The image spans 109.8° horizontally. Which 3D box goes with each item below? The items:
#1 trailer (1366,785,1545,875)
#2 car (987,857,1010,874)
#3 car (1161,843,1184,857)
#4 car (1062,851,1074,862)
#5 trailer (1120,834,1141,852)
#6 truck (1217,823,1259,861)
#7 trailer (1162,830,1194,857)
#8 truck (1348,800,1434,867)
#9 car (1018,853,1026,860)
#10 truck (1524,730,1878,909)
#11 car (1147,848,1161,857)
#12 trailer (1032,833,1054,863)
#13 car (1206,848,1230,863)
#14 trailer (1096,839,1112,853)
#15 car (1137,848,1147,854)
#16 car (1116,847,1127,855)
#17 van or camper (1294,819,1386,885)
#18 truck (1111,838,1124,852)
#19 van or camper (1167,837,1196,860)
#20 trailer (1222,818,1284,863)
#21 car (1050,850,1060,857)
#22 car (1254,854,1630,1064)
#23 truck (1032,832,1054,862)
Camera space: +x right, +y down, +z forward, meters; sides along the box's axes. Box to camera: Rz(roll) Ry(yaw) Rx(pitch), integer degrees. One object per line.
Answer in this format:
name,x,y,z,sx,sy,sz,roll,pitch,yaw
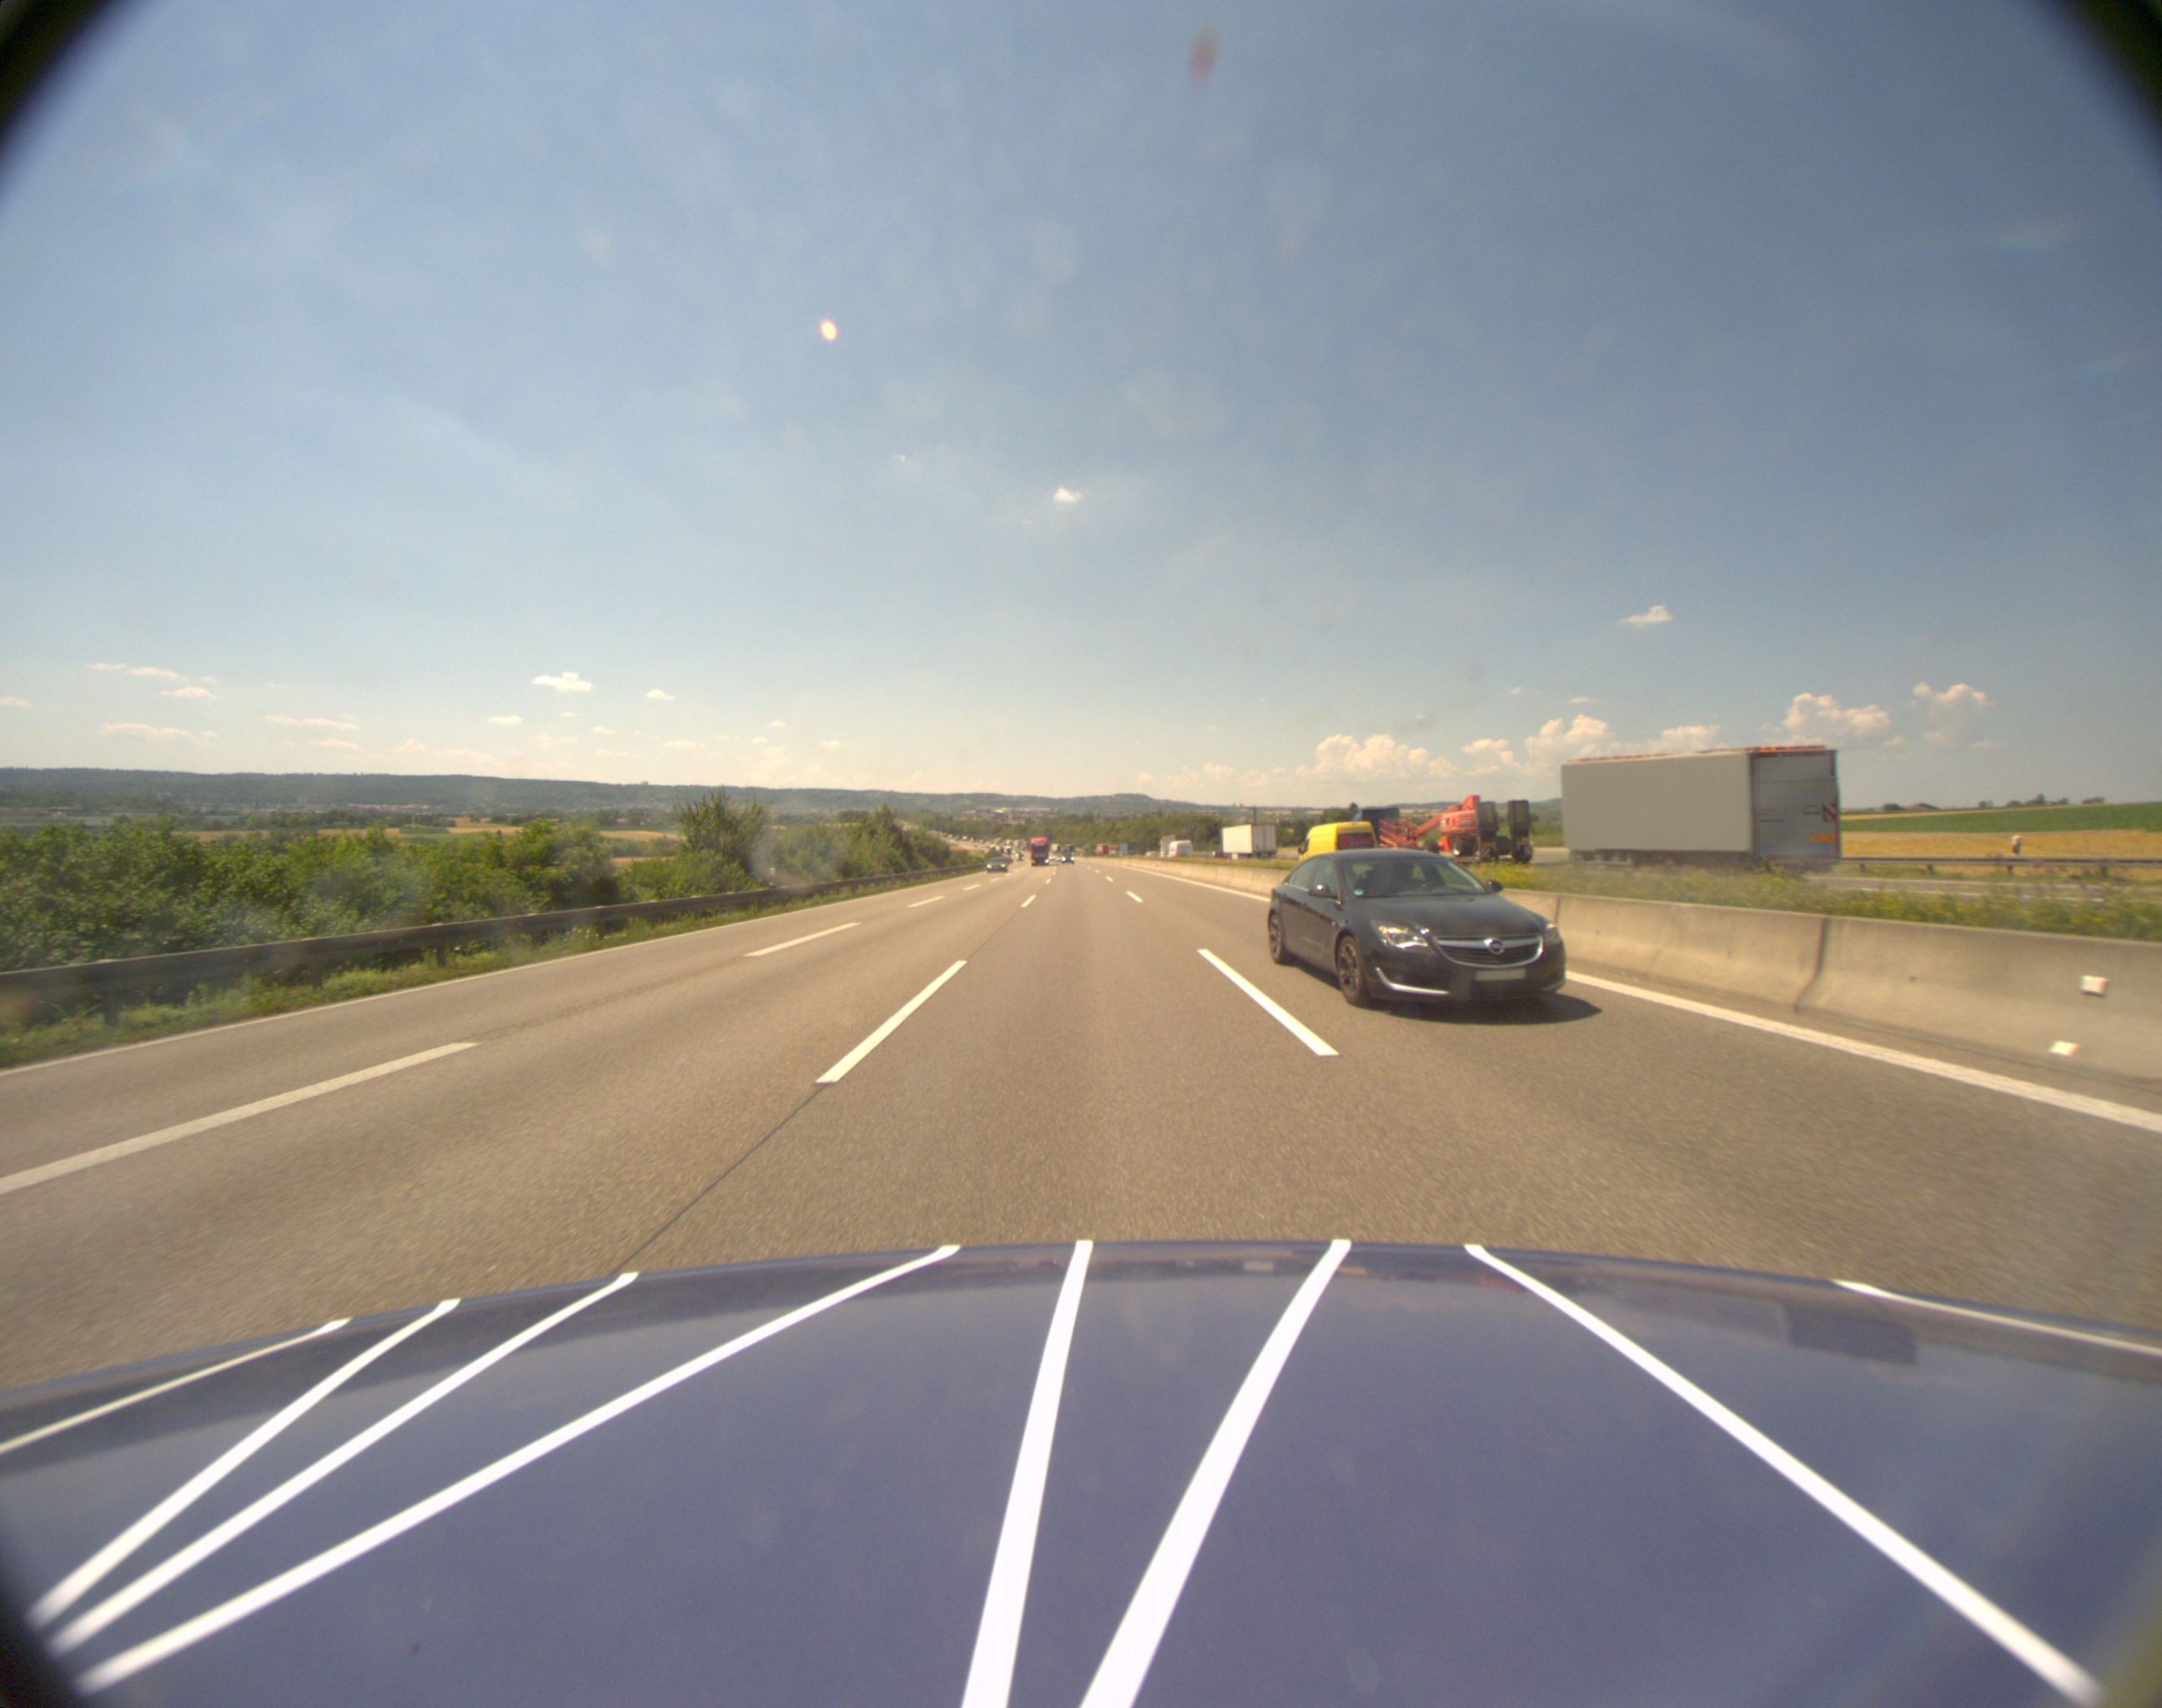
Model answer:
trailer,19.492,-1.149,41.212,2.846,3.935,13.725,-2,1,0
car,-7.896,1.072,73.172,2.038,1.543,3.998,-2,0,-4
car,11.620,-0.511,96.796,1.932,1.578,5.667,-2,1,-2
car,-2.038,0.416,118.919,1.866,1.426,3.998,-1,3,-1
trailer,12.426,-2.664,190.971,3.170,4.170,14.373,-3,1,-4
truck,18.578,-1.386,90.363,3.235,4.182,7.124,-2,0,-1
trailer,16.671,-1.743,131.892,3.132,4.299,14.540,-2,1,-1
truck,19.444,-1.223,48.131,2.783,3.915,6.137,-2,0,-1
car,-15.776,0.707,201.669,1.999,1.467,3.996,-3,3,-5
truck,15.534,-0.745,20.145,2.943,3.721,7.779,-2,0,0
car,12.872,-0.259,134.345,1.871,1.448,4.571,-2,1,-2
trailer,-5.981,-1.049,117.069,2.927,4.094,13.849,-3,2,-4
car,14.977,0.121,83.280,1.824,1.471,4.502,-2,1,0
trailer,7.241,-2.468,238.534,3.095,4.077,14.372,-3,1,-5
car,14.002,-0.673,175.381,1.662,1.377,4.348,-3,0,-4
car,8.245,-0.603,155.555,1.884,1.562,4.587,-2,0,-2
van or camper,11.716,-0.120,34.927,2.089,2.692,6.138,-2,0,1
truck,10.314,-2.643,217.364,2.759,3.815,7.094,-3,1,-4
van or camper,11.097,-0.664,84.604,2.073,2.449,7.518,-1,1,-1
trailer,18.724,-1.419,83.764,3.250,4.362,14.024,-2,0,-1
car,-6.415,-0.159,186.796,2.000,1.467,3.995,-3,3,-8
car,3.340,0.817,8.259,1.807,1.534,4.749,-2,0,0
truck,-5.576,-1.058,110.306,2.925,3.986,6.506,-3,2,-4
